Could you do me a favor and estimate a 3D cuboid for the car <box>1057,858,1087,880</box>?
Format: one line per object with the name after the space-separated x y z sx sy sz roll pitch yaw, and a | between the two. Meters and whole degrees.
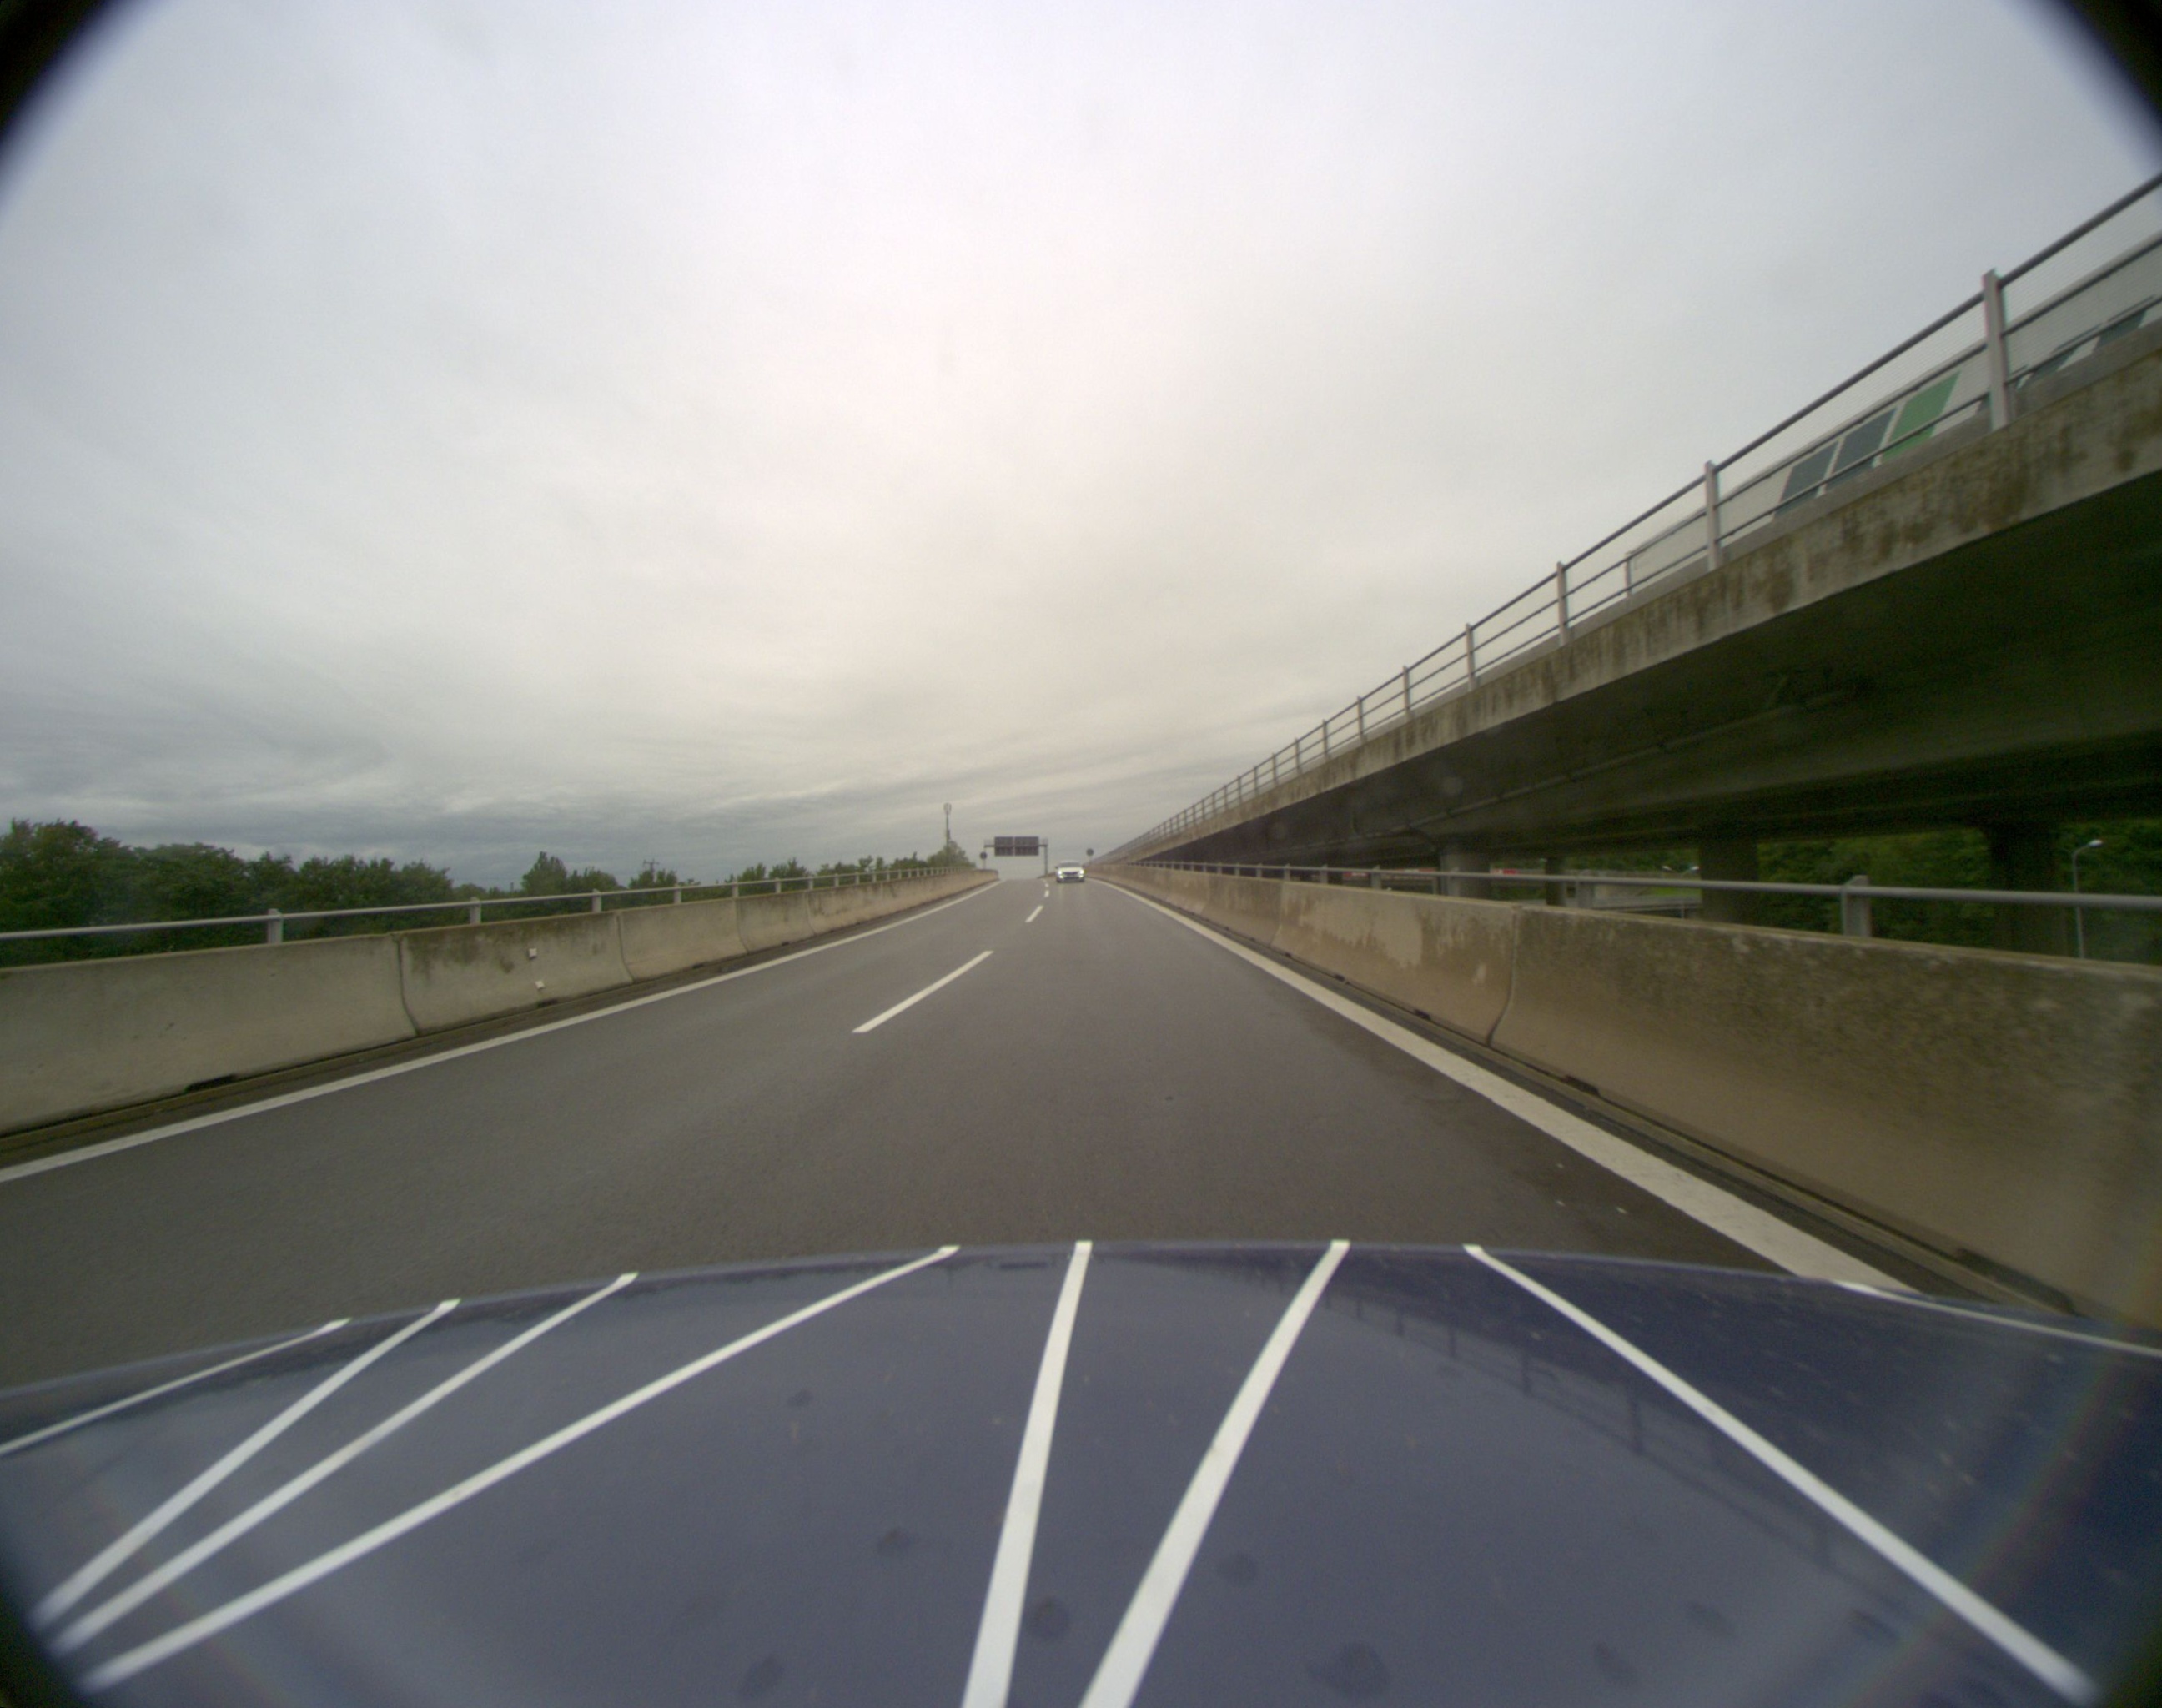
-0.636 0.988 51.011 1.915 1.439 4.556 0 -1 -1 | car

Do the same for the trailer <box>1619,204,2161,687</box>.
13.022 -5.402 9.154 2.664 3.278 14.061 -2 -1 -2 | trailer
